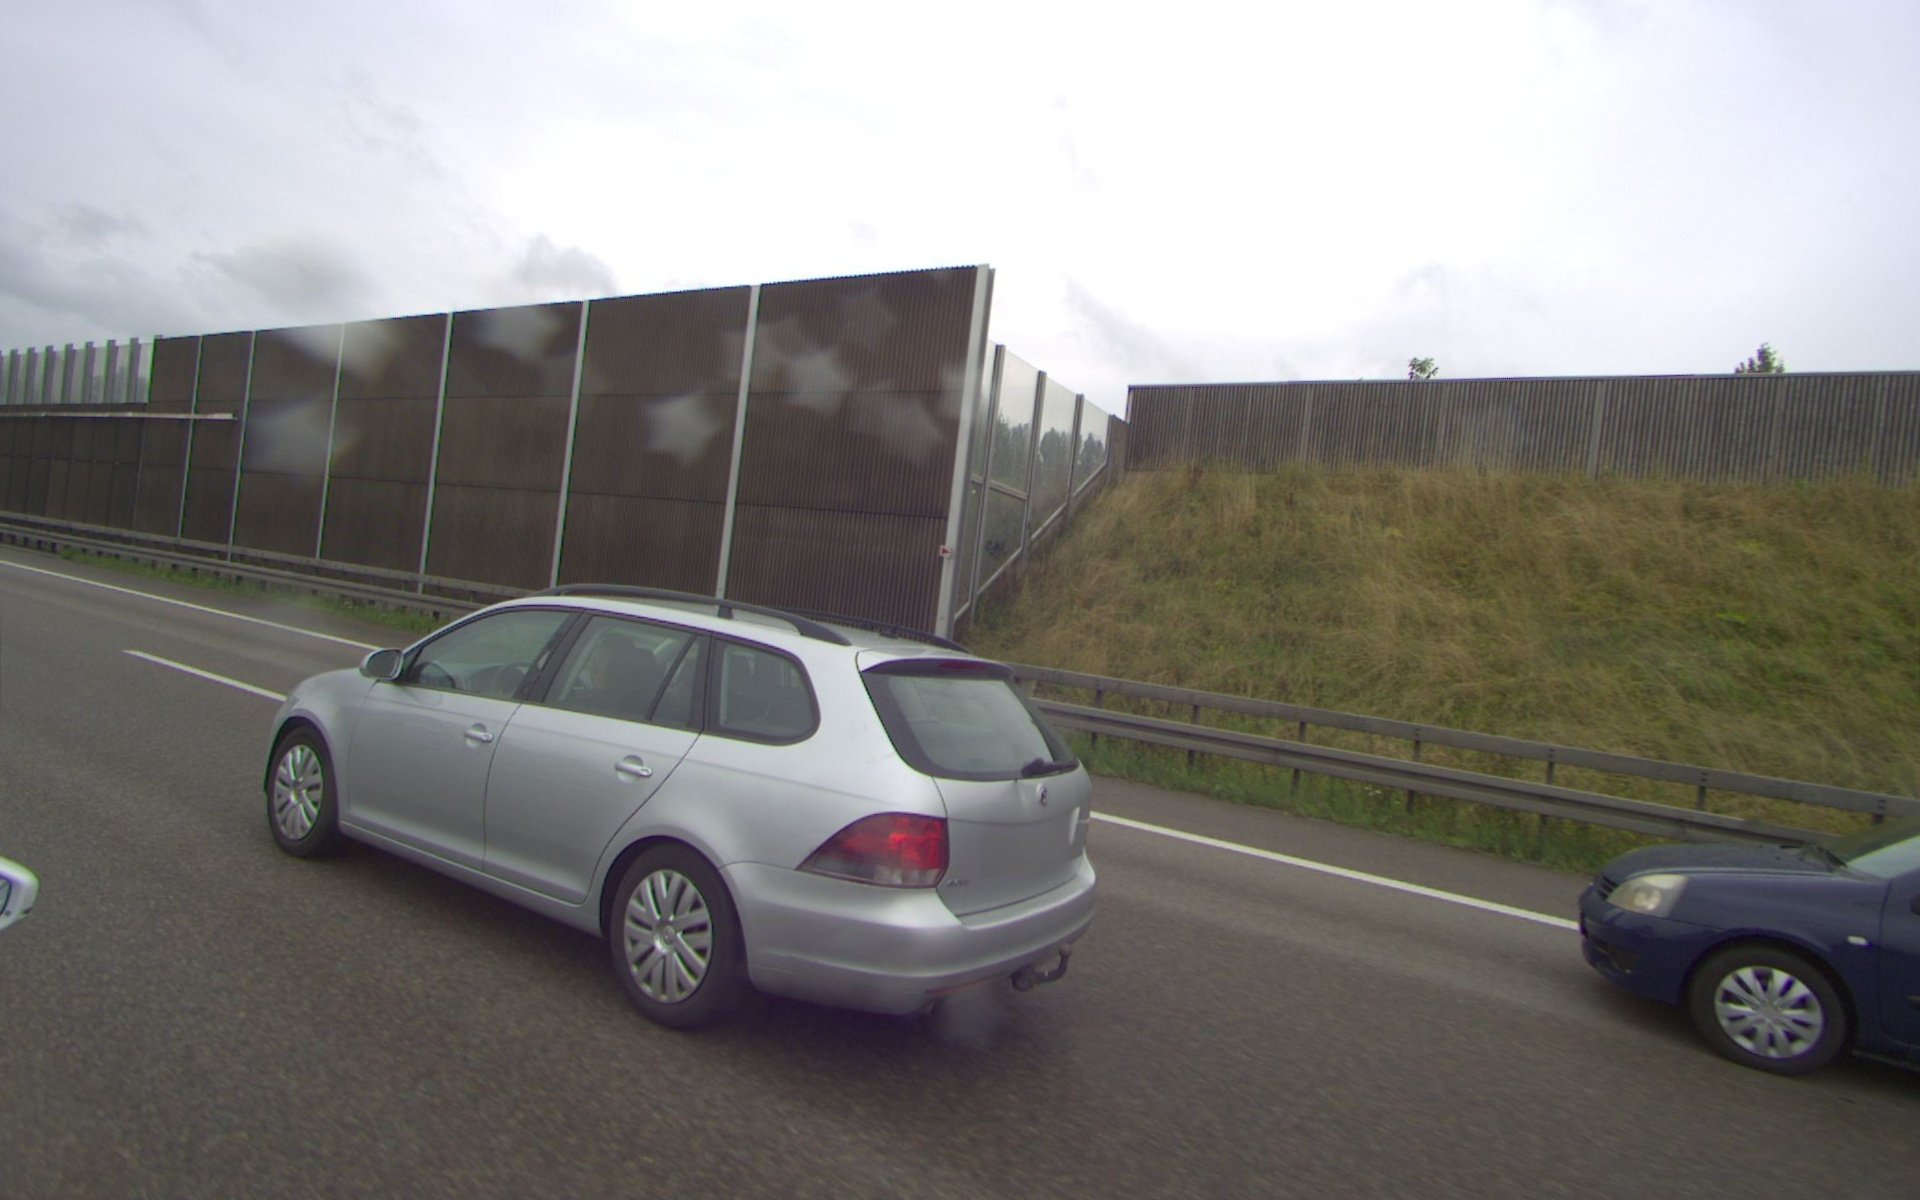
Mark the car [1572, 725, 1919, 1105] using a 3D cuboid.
[{"bbox_3d":[5.125,1.573,4.613,3.811,1.417,1.706,6,-3,31],"label":"car"}]

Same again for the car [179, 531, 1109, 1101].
[{"bbox_3d":[-1.740,0.636,4.916,4.442,1.442,1.744,7,-1,32],"label":"car"}]
